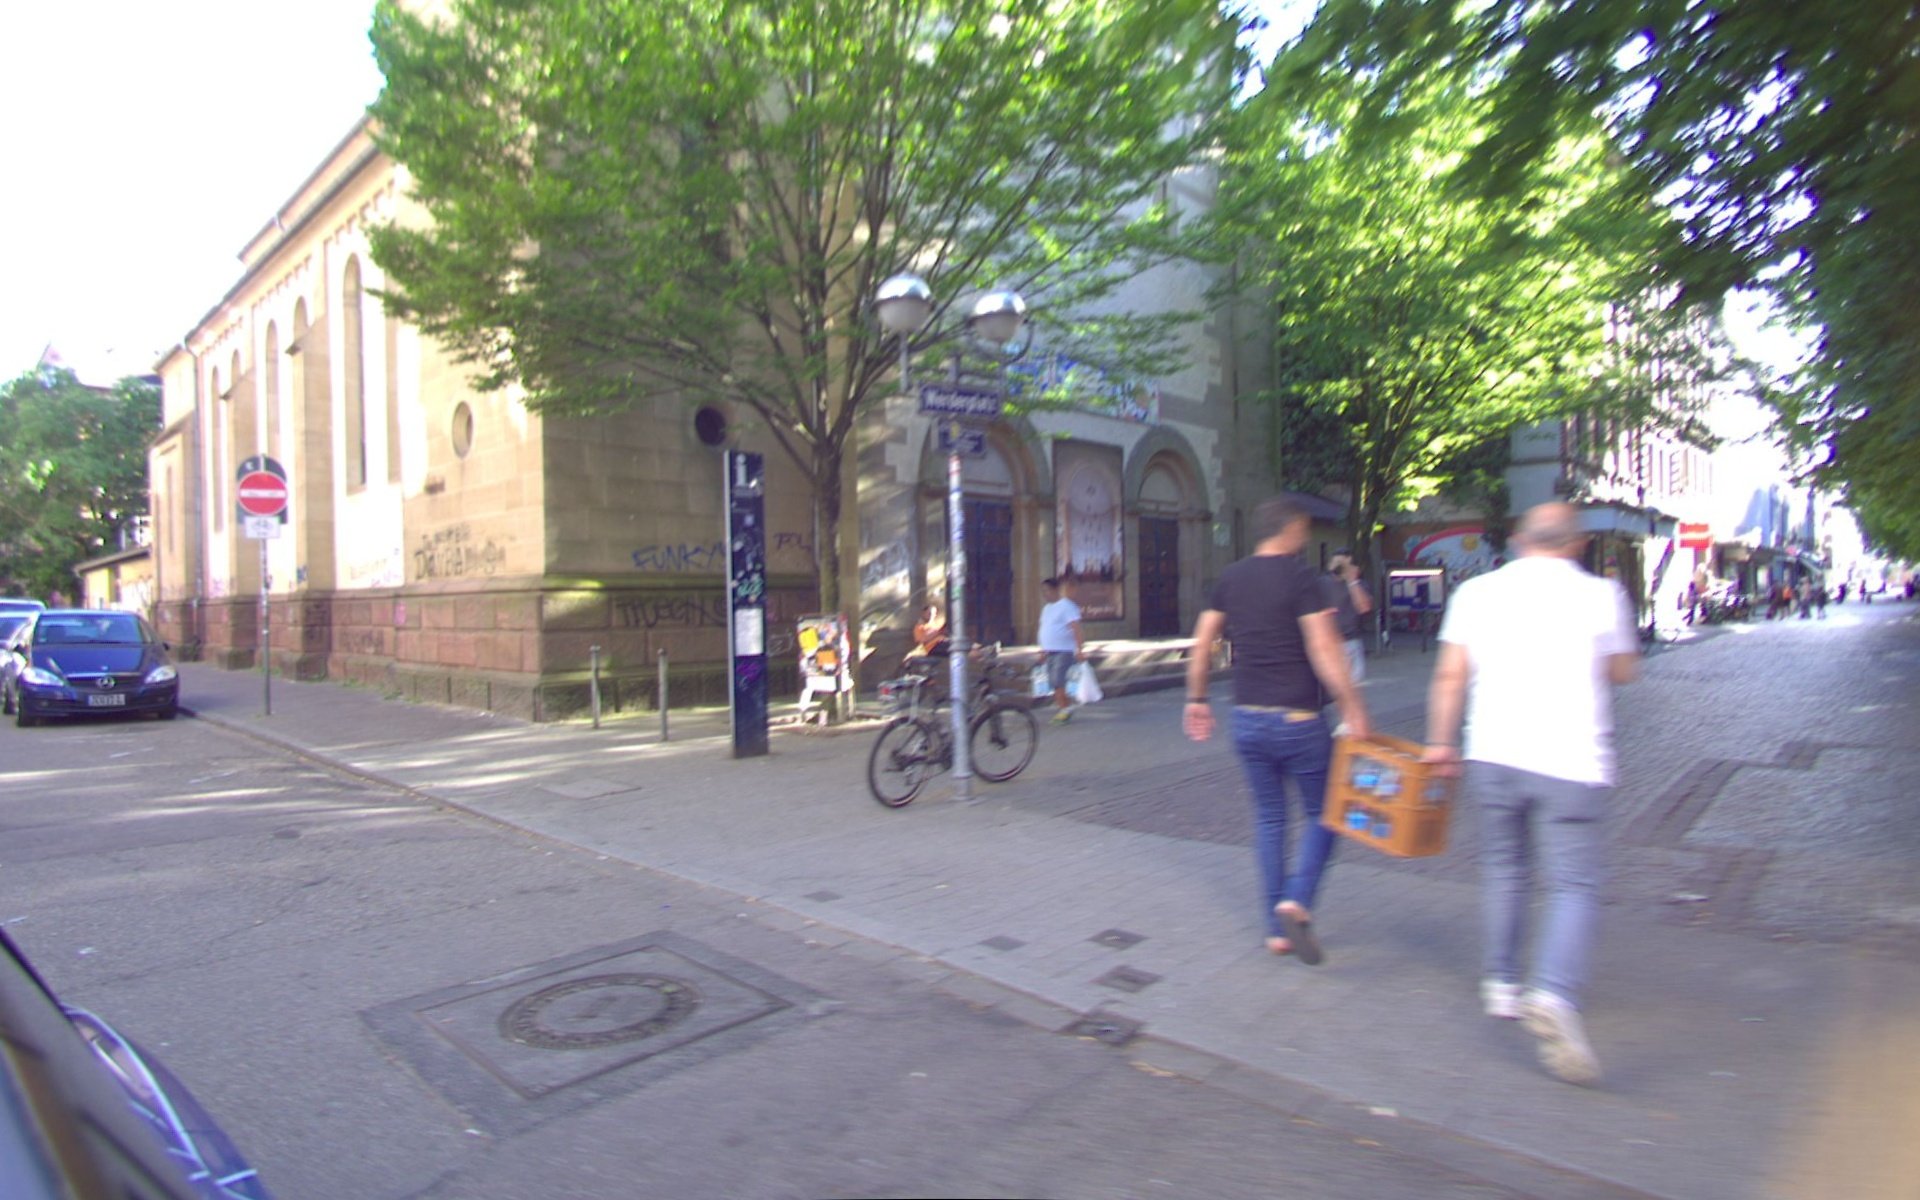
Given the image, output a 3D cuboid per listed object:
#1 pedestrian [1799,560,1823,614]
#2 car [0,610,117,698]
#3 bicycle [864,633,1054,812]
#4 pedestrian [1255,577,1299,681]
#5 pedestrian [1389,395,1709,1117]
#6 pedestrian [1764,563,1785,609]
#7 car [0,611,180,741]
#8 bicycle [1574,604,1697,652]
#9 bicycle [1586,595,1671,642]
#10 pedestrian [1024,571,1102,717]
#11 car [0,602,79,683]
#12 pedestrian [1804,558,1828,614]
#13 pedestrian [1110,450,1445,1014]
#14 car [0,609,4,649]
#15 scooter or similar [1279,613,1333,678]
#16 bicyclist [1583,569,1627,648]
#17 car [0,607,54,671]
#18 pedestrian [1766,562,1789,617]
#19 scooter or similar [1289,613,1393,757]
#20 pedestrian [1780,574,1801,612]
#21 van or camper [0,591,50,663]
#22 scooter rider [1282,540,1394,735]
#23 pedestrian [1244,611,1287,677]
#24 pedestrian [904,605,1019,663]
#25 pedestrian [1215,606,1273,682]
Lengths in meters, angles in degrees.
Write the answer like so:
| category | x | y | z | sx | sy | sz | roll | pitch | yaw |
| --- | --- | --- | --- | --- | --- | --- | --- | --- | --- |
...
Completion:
| category | x | y | z | sx | sy | sz | roll | pitch | yaw |
| --- | --- | --- | --- | --- | --- | --- | --- | --- | --- |
| pedestrian | 36.639 | -0.561 | 43.574 | 0.730 | 2.335 | 0.754 | -1 | 1 | 42 |
| car | -16.671 | 0.903 | 18.492 | 1.555 | 1.374 | 4.149 | -3 | 2 | -45 |
| bicycle | 0.039 | 0.832 | 7.410 | 0.346 | 1.073 | 1.672 | -1 | 2 | 42 |
| pedestrian | 5.175 | 0.459 | 16.516 | 0.548 | 1.644 | 0.555 | -1 | 1 | 31 |
| pedestrian | 1.813 | 0.393 | 3.095 | 0.688 | 1.849 | 0.753 | -1 | 1 | 42 |
| pedestrian | 41.957 | -0.741 | 52.129 | 0.753 | 2.335 | 0.731 | -3 | 1 | -43 |
| car | -12.906 | 0.985 | 14.821 | 3.835 | 1.563 | 1.774 | 0 | 2 | 44 |
| bicycle | 15.792 | 0.647 | 23.661 | 2.722 | 0.997 | 0.489 | -2 | 1 | -7 |
| bicycle | 18.776 | 0.515 | 28.466 | 1.928 | 1.276 | 0.517 | 0 | 2 | 43 |
| pedestrian | 1.181 | 0.483 | 11.586 | 0.714 | 1.605 | 0.474 | -1 | 1 | 41 |
| car | -20.433 | 0.861 | 21.919 | 4.002 | 1.579 | 1.700 | 0 | 2 | 45 |
| pedestrian | 35.875 | -0.590 | 42.414 | 0.730 | 2.335 | 0.754 | -1 | 1 | 40 |
| pedestrian | 1.210 | 0.426 | 3.886 | 1.003 | 1.838 | 0.686 | -1 | 1 | 42 |
| car | -39.831 | 1.194 | 40.798 | 3.814 | 1.549 | 1.673 | -1 | 0 | 44 |
| scooter or similar | 5.798 | 0.750 | 16.948 | 0.721 | 1.013 | 0.506 | -2 | 1 | -36 |
| bicyclist | 14.886 | 0.195 | 23.369 | 0.672 | 1.775 | 0.505 | -2 | 1 | -7 |
| car | -24.233 | 0.976 | 25.611 | 3.737 | 1.492 | 1.673 | -1 | 0 | 44 |
| pedestrian | 34.952 | -0.454 | 43.255 | 0.729 | 2.335 | 0.754 | -1 | 1 | 40 |
| scooter or similar | 3.463 | 0.731 | 9.166 | 0.514 | 1.169 | 1.043 | -1 | 2 | 42 |
| pedestrian | 38.999 | -0.329 | 47.524 | 0.730 | 1.750 | 0.754 | -1 | 0 | 42 |
| van or camper | -28.107 | 0.786 | 29.540 | 4.564 | 1.966 | 1.957 | -1 | 0 | 44 |
| scooter rider | 3.400 | 0.308 | 9.094 | 0.720 | 1.660 | 0.680 | -1 | 1 | 42 |
| pedestrian | 5.390 | 0.765 | 17.826 | 0.490 | 1.116 | 0.608 | -1 | 1 | 43 |
| pedestrian | 0.019 | 0.472 | 14.817 | 1.407 | 0.766 | 0.946 | 0 | 2 | 43 |
| pedestrian | 4.852 | 0.733 | 17.306 | 0.741 | 1.241 | 0.607 | -1 | 1 | 43 |
